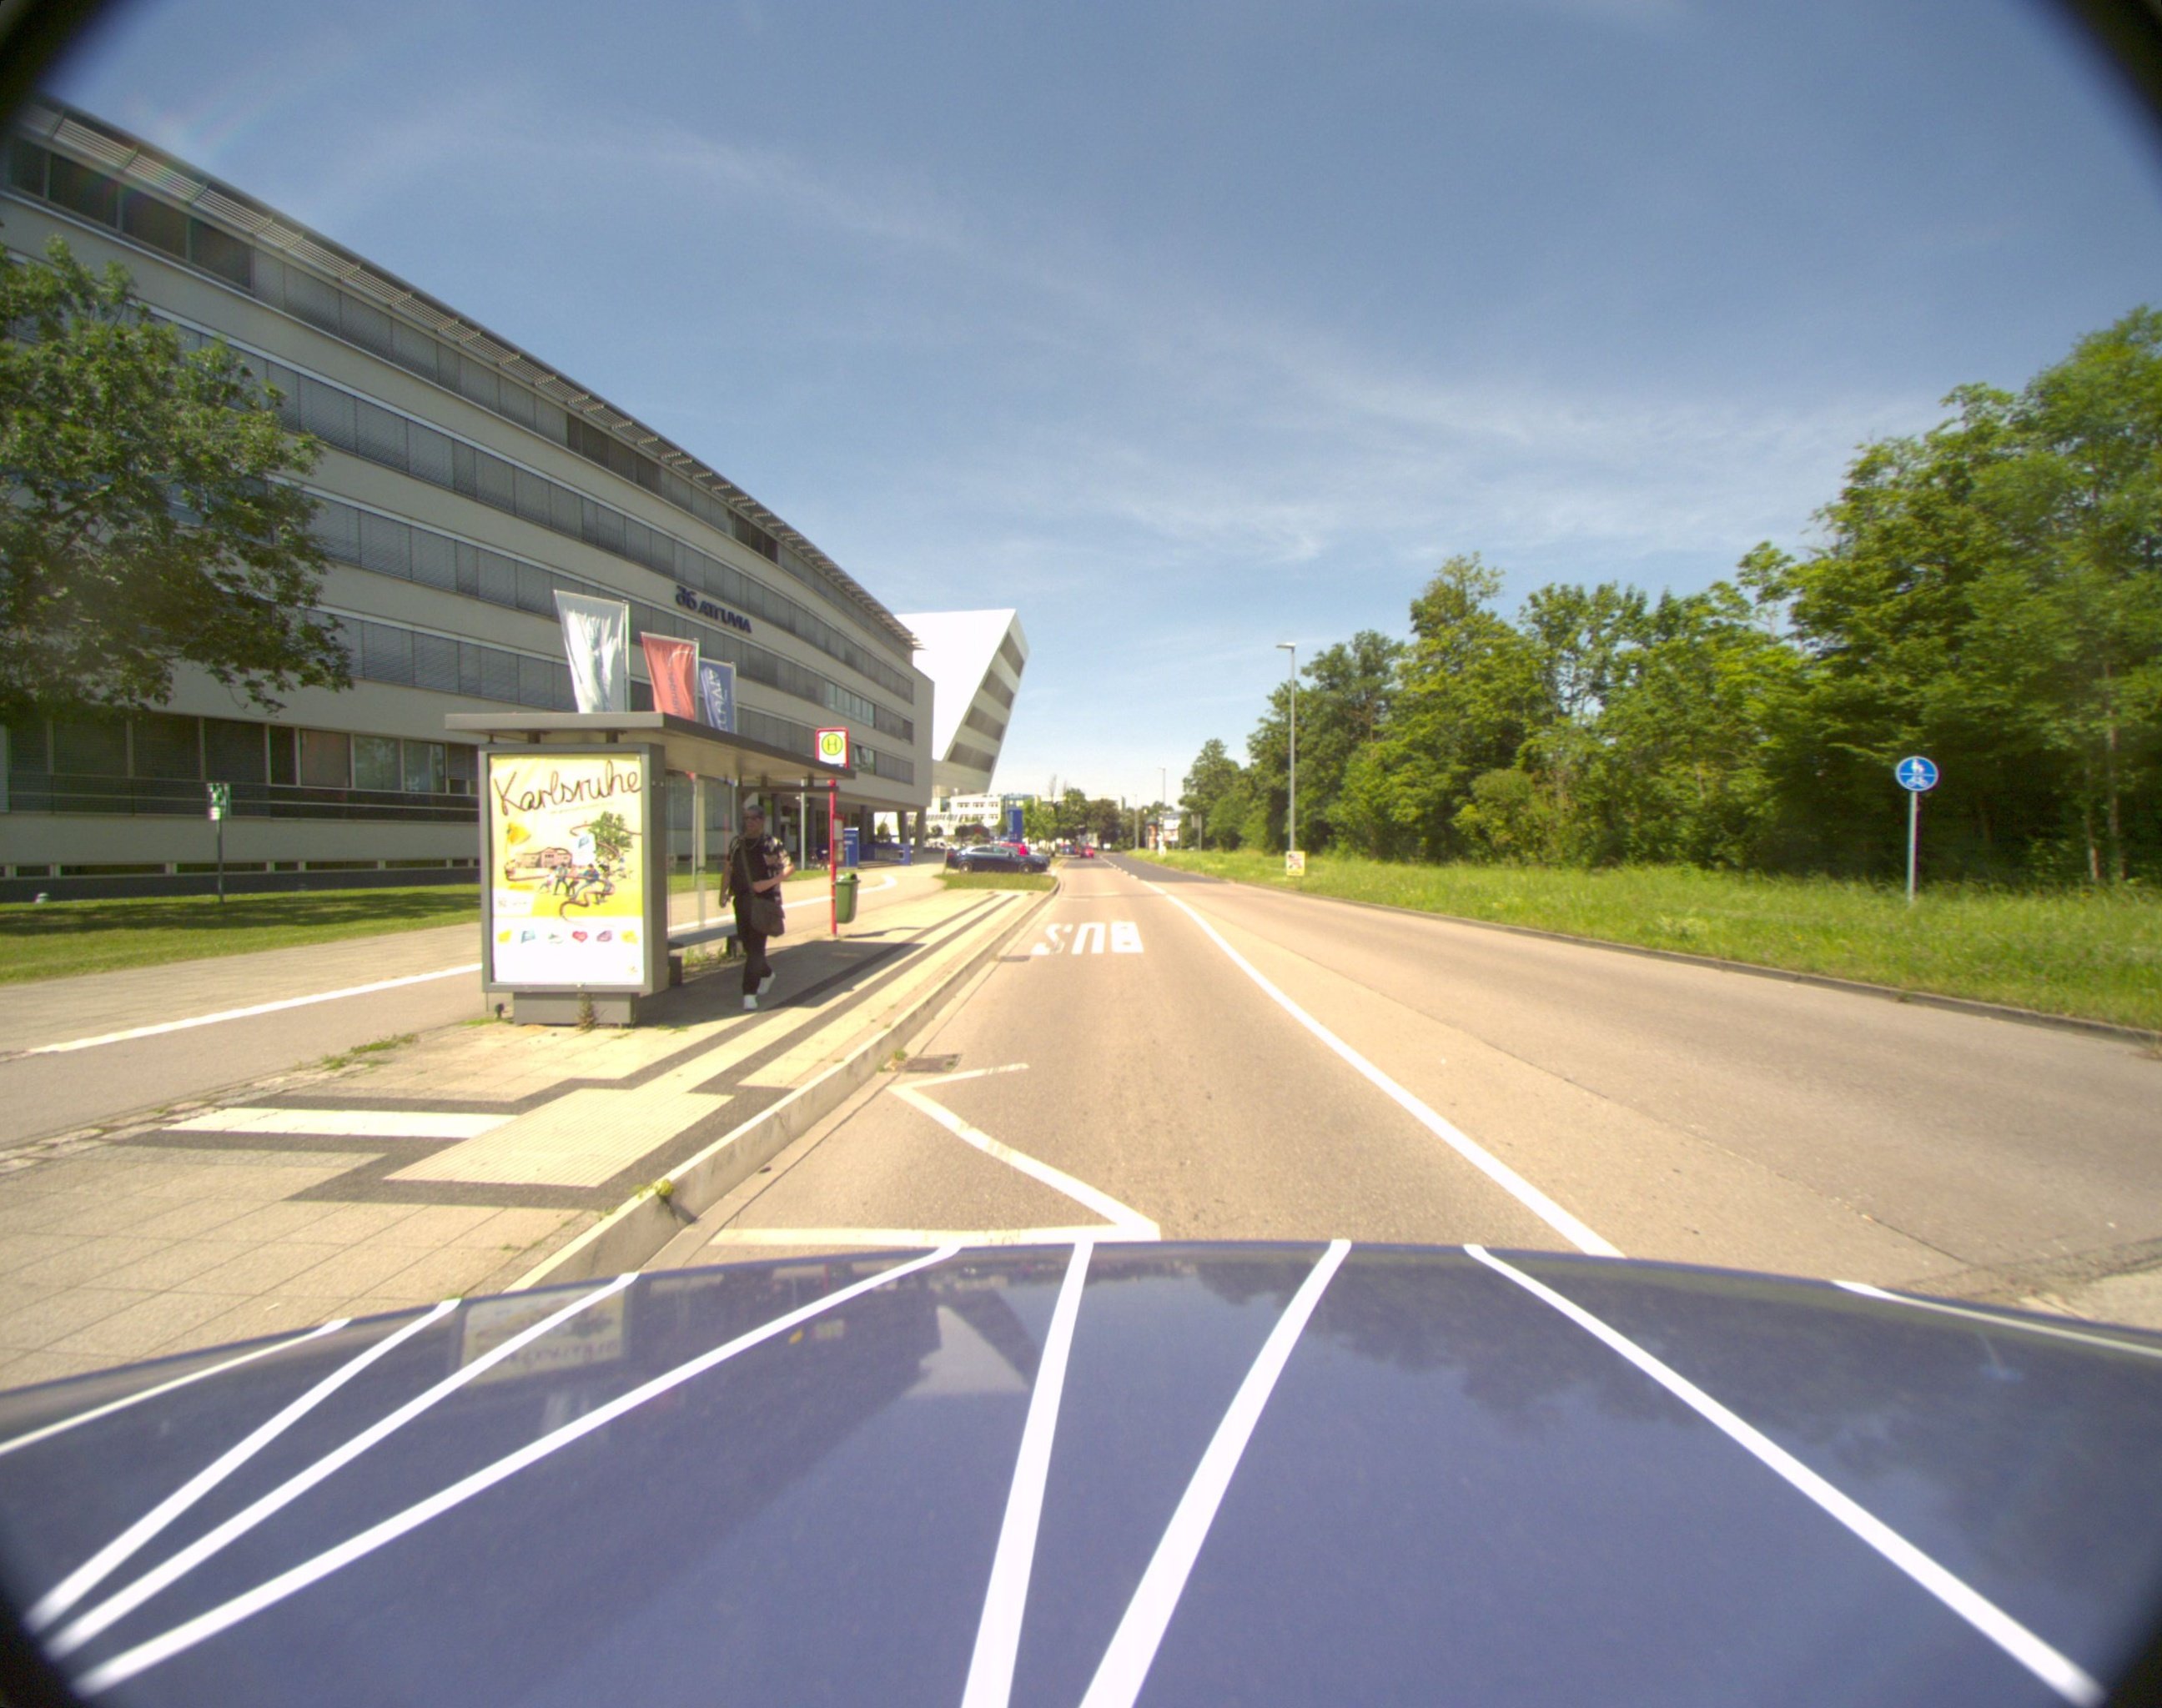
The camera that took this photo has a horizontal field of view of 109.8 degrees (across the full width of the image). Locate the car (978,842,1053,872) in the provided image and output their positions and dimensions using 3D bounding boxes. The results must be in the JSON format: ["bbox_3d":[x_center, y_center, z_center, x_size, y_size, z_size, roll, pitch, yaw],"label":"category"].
[{"bbox_3d":[-3.466,0.140,40.623,3.816,1.478,1.655,1,2,2],"label":"car"}]

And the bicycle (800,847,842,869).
[{"bbox_3d":[-12.807,0.191,37.441,1.881,1.054,0.534,-1,2,4],"label":"bicycle"}]

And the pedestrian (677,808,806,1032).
[{"bbox_3d":[-2.919,0.532,6.600,0.710,1.812,0.826,2,2,1],"label":"pedestrian"}]

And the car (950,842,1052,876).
[{"bbox_3d":[-3.691,0.212,35.700,4.579,1.424,1.827,2,2,-1],"label":"car"}]

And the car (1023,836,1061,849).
[{"bbox_3d":[-6.921,-2.024,136.766,6.491,2.137,2.165,-1,2,7],"label":"car"}]

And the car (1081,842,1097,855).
[{"bbox_3d":[0.973,-0.655,88.405,1.662,1.495,3.356,-1,1,2],"label":"car"}]

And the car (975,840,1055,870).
[{"bbox_3d":[-3.704,0.028,43.041,4.331,1.555,1.786,1,2,1],"label":"car"}]

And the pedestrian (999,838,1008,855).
[{"bbox_3d":[-7.552,-0.734,74.060,0.844,1.691,0.775,-1,2,-1],"label":"pedestrian"}]

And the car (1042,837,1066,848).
[{"bbox_3d":[-5.010,-2.201,142.494,4.204,1.964,1.704,-1,2,7],"label":"car"}]

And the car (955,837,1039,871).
[{"bbox_3d":[-4.197,-0.023,38.510,3.996,1.646,1.839,0,2,2],"label":"car"}]

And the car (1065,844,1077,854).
[{"bbox_3d":[-1.494,-0.846,117.885,1.802,1.490,3.999,-1,1,-1],"label":"car"}]

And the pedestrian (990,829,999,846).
[{"bbox_3d":[-8.431,-1.579,74.058,0.844,1.651,0.775,-1,2,-1],"label":"pedestrian"}]

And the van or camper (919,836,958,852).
[{"bbox_3d":[-22.429,-1.573,119.754,5.699,2.377,1.704,-1,2,7],"label":"van or camper"}]
